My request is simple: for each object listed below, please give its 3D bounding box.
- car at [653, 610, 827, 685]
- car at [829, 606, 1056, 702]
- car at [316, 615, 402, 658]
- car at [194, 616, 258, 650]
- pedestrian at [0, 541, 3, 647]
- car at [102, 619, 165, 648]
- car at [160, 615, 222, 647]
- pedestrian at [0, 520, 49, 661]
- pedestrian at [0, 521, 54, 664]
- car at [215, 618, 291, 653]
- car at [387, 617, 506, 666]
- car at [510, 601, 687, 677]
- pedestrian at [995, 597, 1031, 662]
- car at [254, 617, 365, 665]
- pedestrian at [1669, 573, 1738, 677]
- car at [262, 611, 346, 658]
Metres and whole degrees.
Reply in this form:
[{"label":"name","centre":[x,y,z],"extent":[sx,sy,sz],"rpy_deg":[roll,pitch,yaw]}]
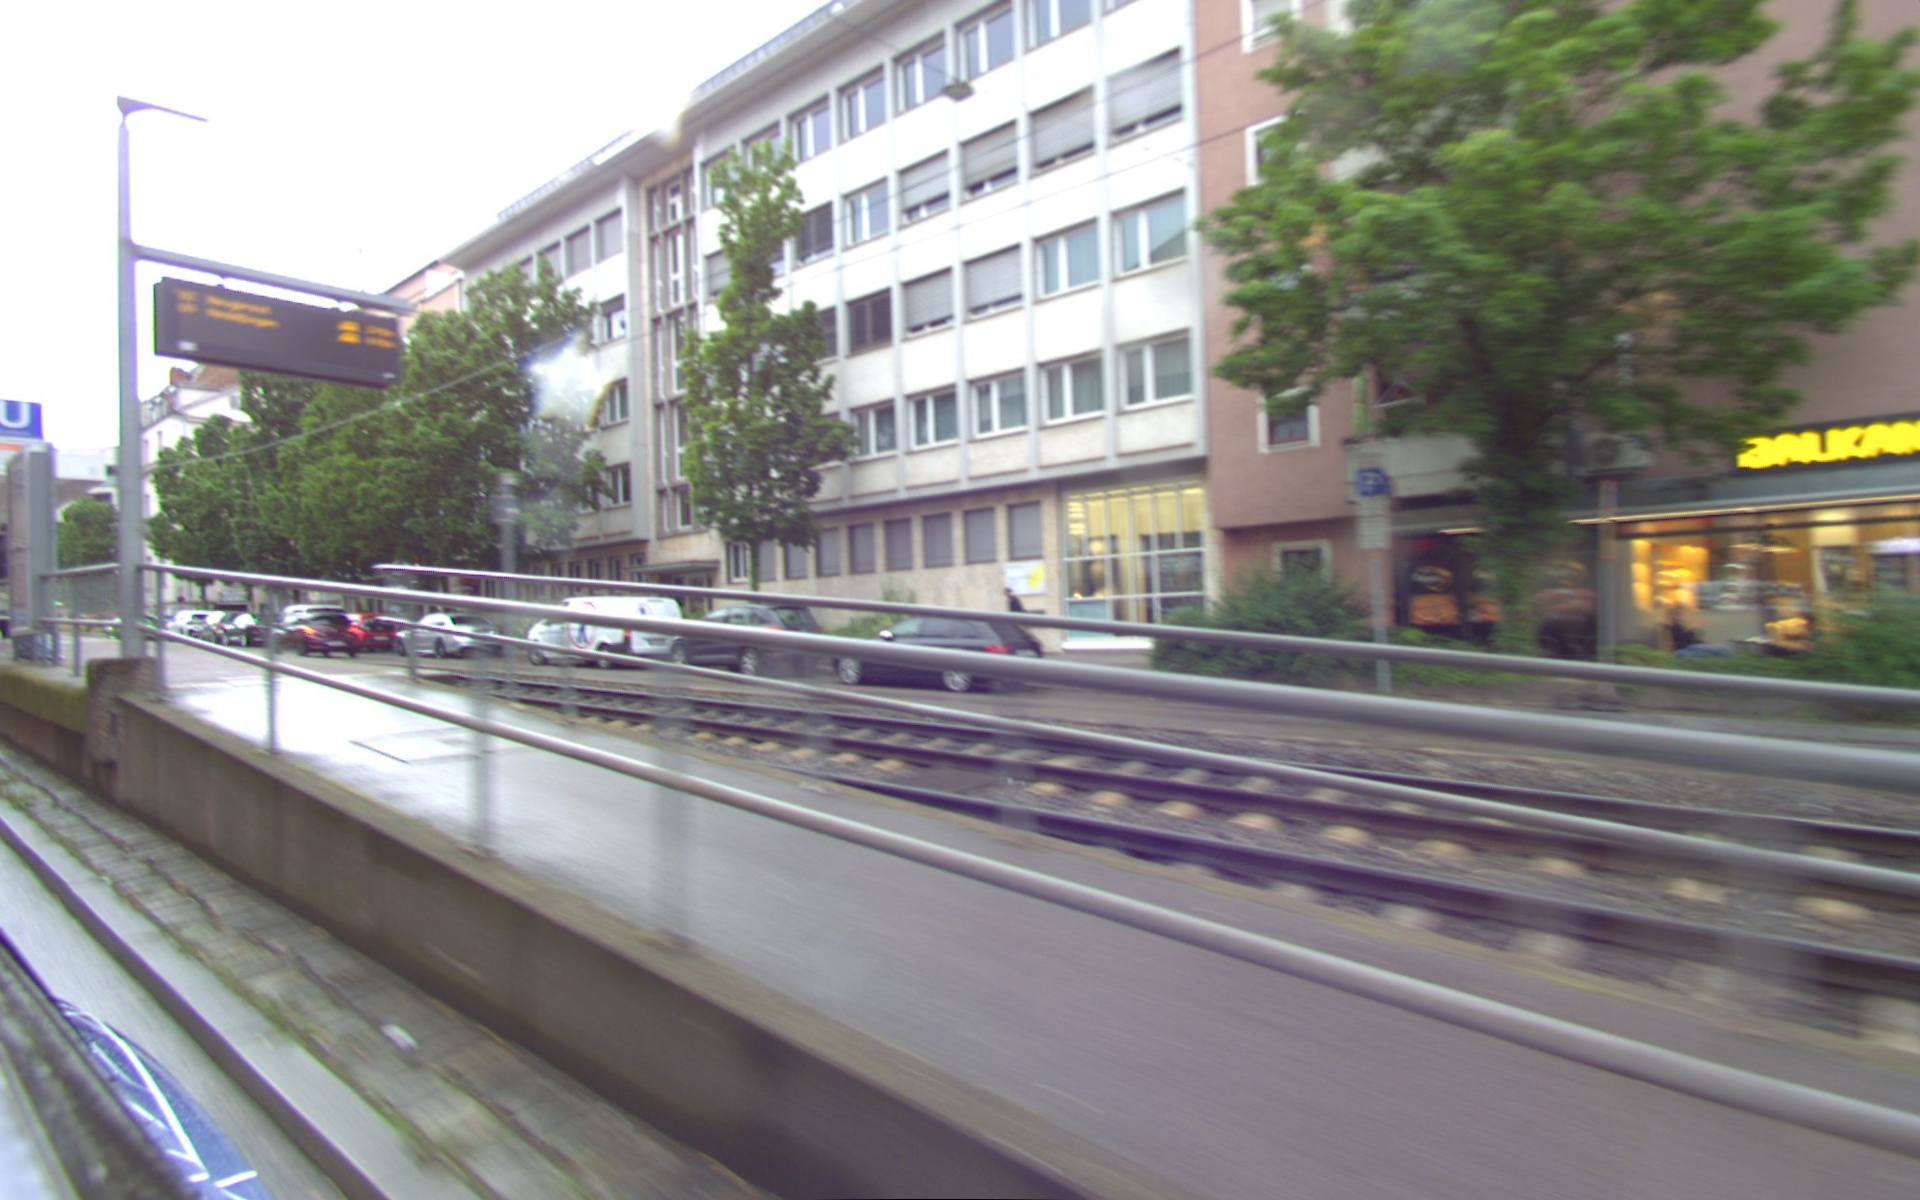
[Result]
[{"label":"car","centre":[-5.089,1.013,23.089],"extent":[4.368,1.548,1.621],"rpy_deg":[-1,-1,41]},{"label":"car","centre":[-0.420,0.938,19.267],"extent":[4.368,1.636,1.621],"rpy_deg":[-1,-1,41]},{"label":"car","centre":[-22.819,1.353,38.375],"extent":[3.800,1.551,1.622],"rpy_deg":[-1,-1,39]},{"label":"car","centre":[-35.290,1.534,48.635],"extent":[4.020,1.549,1.622],"rpy_deg":[-1,-1,41]},{"label":"pedestrian","centre":[-16.038,-0.100,16.372],"extent":[0.700,1.706,0.704],"rpy_deg":[-1,-1,38]},{"label":"car","centre":[-40.468,1.594,49.524],"extent":[3.730,1.348,1.623],"rpy_deg":[-1,-1,38]},{"label":"car","centre":[-40.263,1.610,52.949],"extent":[4.333,1.596,1.641],"rpy_deg":[-1,-1,39]},{"label":"pedestrian","centre":[-11.216,-0.102,11.934],"extent":[0.700,1.621,0.578],"rpy_deg":[-1,-1,38]},{"label":"pedestrian","centre":[-10.709,-0.082,11.435],"extent":[0.700,1.569,0.578],"rpy_deg":[-1,-1,38]},{"label":"car","centre":[-31.734,1.547,45.380],"extent":[4.725,1.451,1.622],"rpy_deg":[-1,-1,39]},{"label":"car","centre":[-16.707,1.295,32.825],"extent":[4.524,1.473,1.676],"rpy_deg":[-1,-1,38]},{"label":"car","centre":[-9.747,0.993,27.092],"extent":[5.248,1.858,1.890],"rpy_deg":[-1,-1,37]},{"label":"pedestrian","centre":[1.289,0.710,24.576],"extent":[0.584,1.569,0.693],"rpy_deg":[-1,-1,34]},{"label":"car","centre":[-21.336,1.295,33.129],"extent":[4.524,1.473,1.676],"rpy_deg":[-1,-1,38]},{"label":"pedestrian","centre":[11.882,0.391,16.171],"extent":[0.818,1.608,0.553],"rpy_deg":[-1,-2,42]},{"label":"car","centre":[-27.187,1.379,41.877],"extent":[4.428,1.831,1.657],"rpy_deg":[-1,-1,39]}]
